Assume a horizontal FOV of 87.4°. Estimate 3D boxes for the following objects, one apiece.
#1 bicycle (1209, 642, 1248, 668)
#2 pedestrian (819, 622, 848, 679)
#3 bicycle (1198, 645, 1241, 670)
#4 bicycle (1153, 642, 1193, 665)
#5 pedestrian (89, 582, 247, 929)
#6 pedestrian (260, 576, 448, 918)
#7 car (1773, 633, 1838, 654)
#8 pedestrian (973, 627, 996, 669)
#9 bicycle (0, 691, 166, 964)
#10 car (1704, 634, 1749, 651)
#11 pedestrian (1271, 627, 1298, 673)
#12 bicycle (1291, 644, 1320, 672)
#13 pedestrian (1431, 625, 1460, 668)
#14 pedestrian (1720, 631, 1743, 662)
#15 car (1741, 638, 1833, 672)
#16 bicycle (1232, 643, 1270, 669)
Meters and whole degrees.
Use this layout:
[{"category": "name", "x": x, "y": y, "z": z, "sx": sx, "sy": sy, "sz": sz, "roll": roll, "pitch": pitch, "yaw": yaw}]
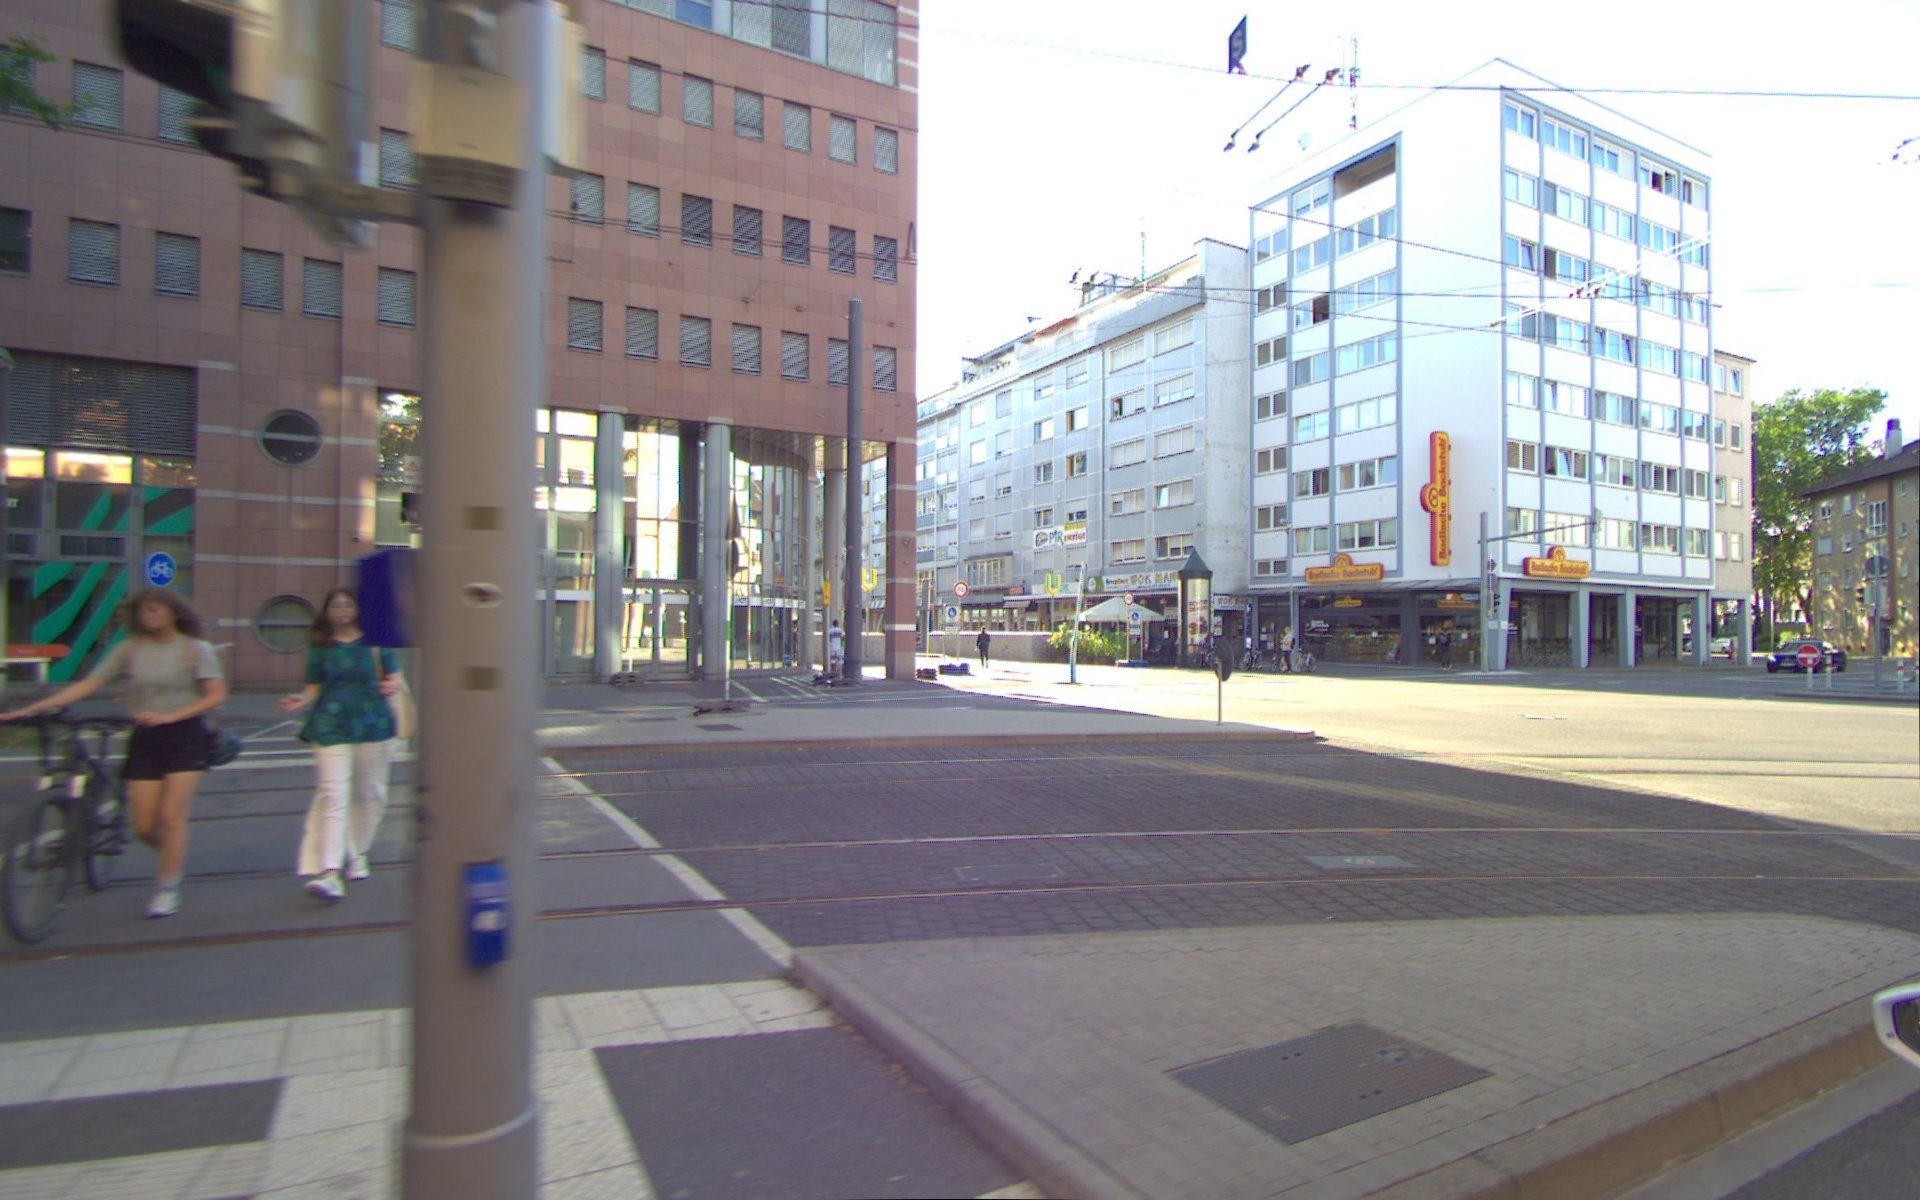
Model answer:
[{"category": "bicycle", "x": 11.687, "y": 2.364, "z": 43.680, "sx": 1.988, "sy": 1.067, "sz": 0.590, "roll": 1, "pitch": -1, "yaw": -38}, {"category": "pedestrian", "x": -3.676, "y": 1.461, "z": 29.179, "sx": 0.708, "sy": 1.639, "sz": 0.642, "roll": 0, "pitch": -1, "yaw": 6}, {"category": "bicycle", "x": 11.585, "y": 2.545, "z": 44.819, "sx": 1.979, "sy": 1.067, "sz": 0.593, "roll": 1, "pitch": -1, "yaw": -25}, {"category": "bicycle", "x": 10.197, "y": 2.564, "z": 48.112, "sx": 1.818, "sy": 1.067, "sz": 0.594, "roll": 1, "pitch": -1, "yaw": -21}, {"category": "pedestrian", "x": -4.161, "y": 0.775, "z": 5.315, "sx": 0.524, "sy": 1.702, "sz": 0.564, "roll": 1, "pitch": -2, "yaw": -28}, {"category": "pedestrian", "x": -3.438, "y": 0.771, "z": 5.731, "sx": 0.839, "sy": 1.757, "sz": 0.773, "roll": 1, "pitch": -2, "yaw": -32}, {"category": "car", "x": 60.382, "y": 3.082, "z": 71.784, "sx": 1.890, "sy": 1.407, "sz": 4.003, "roll": 0, "pitch": -1, "yaw": 12}, {"category": "pedestrian", "x": 1.020, "y": 1.978, "z": 41.529, "sx": 0.866, "sy": 1.687, "sz": 0.908, "roll": 0, "pitch": -1, "yaw": 6}, {"category": "bicycle", "x": -4.653, "y": 1.072, "z": 5.214, "sx": 0.475, "sy": 1.093, "sz": 1.822, "roll": 1, "pitch": -2, "yaw": -27}, {"category": "car", "x": 71.770, "y": 4.004, "z": 94.091, "sx": 1.998, "sy": 1.524, "sz": 4.096, "roll": -1, "pitch": -2, "yaw": 16}, {"category": "pedestrian", "x": 12.835, "y": 1.968, "z": 39.728, "sx": 0.775, "sy": 1.815, "sz": 0.626, "roll": 1, "pitch": -2, "yaw": -28}, {"category": "bicycle", "x": 14.219, "y": 2.380, "z": 41.302, "sx": 0.587, "sy": 1.067, "sz": 1.999, "roll": -1, "pitch": -1, "yaw": 35}, {"category": "pedestrian", "x": 20.326, "y": 1.939, "z": 42.039, "sx": 0.766, "sy": 1.747, "sz": 0.802, "roll": 1, "pitch": -1, "yaw": -28}, {"category": "pedestrian", "x": 43.925, "y": 2.641, "z": 57.224, "sx": 0.791, "sy": 1.747, "sz": 0.777, "roll": 0, "pitch": -1, "yaw": 13}, {"category": "car", "x": 36.456, "y": 2.412, "z": 44.260, "sx": 4.546, "sy": 1.404, "sz": 1.823, "roll": 2, "pitch": -2, "yaw": -32}, {"category": "bicycle", "x": 12.525, "y": 2.389, "z": 43.157, "sx": 1.990, "sy": 1.067, "sz": 0.589, "roll": 1, "pitch": -1, "yaw": -41}]
